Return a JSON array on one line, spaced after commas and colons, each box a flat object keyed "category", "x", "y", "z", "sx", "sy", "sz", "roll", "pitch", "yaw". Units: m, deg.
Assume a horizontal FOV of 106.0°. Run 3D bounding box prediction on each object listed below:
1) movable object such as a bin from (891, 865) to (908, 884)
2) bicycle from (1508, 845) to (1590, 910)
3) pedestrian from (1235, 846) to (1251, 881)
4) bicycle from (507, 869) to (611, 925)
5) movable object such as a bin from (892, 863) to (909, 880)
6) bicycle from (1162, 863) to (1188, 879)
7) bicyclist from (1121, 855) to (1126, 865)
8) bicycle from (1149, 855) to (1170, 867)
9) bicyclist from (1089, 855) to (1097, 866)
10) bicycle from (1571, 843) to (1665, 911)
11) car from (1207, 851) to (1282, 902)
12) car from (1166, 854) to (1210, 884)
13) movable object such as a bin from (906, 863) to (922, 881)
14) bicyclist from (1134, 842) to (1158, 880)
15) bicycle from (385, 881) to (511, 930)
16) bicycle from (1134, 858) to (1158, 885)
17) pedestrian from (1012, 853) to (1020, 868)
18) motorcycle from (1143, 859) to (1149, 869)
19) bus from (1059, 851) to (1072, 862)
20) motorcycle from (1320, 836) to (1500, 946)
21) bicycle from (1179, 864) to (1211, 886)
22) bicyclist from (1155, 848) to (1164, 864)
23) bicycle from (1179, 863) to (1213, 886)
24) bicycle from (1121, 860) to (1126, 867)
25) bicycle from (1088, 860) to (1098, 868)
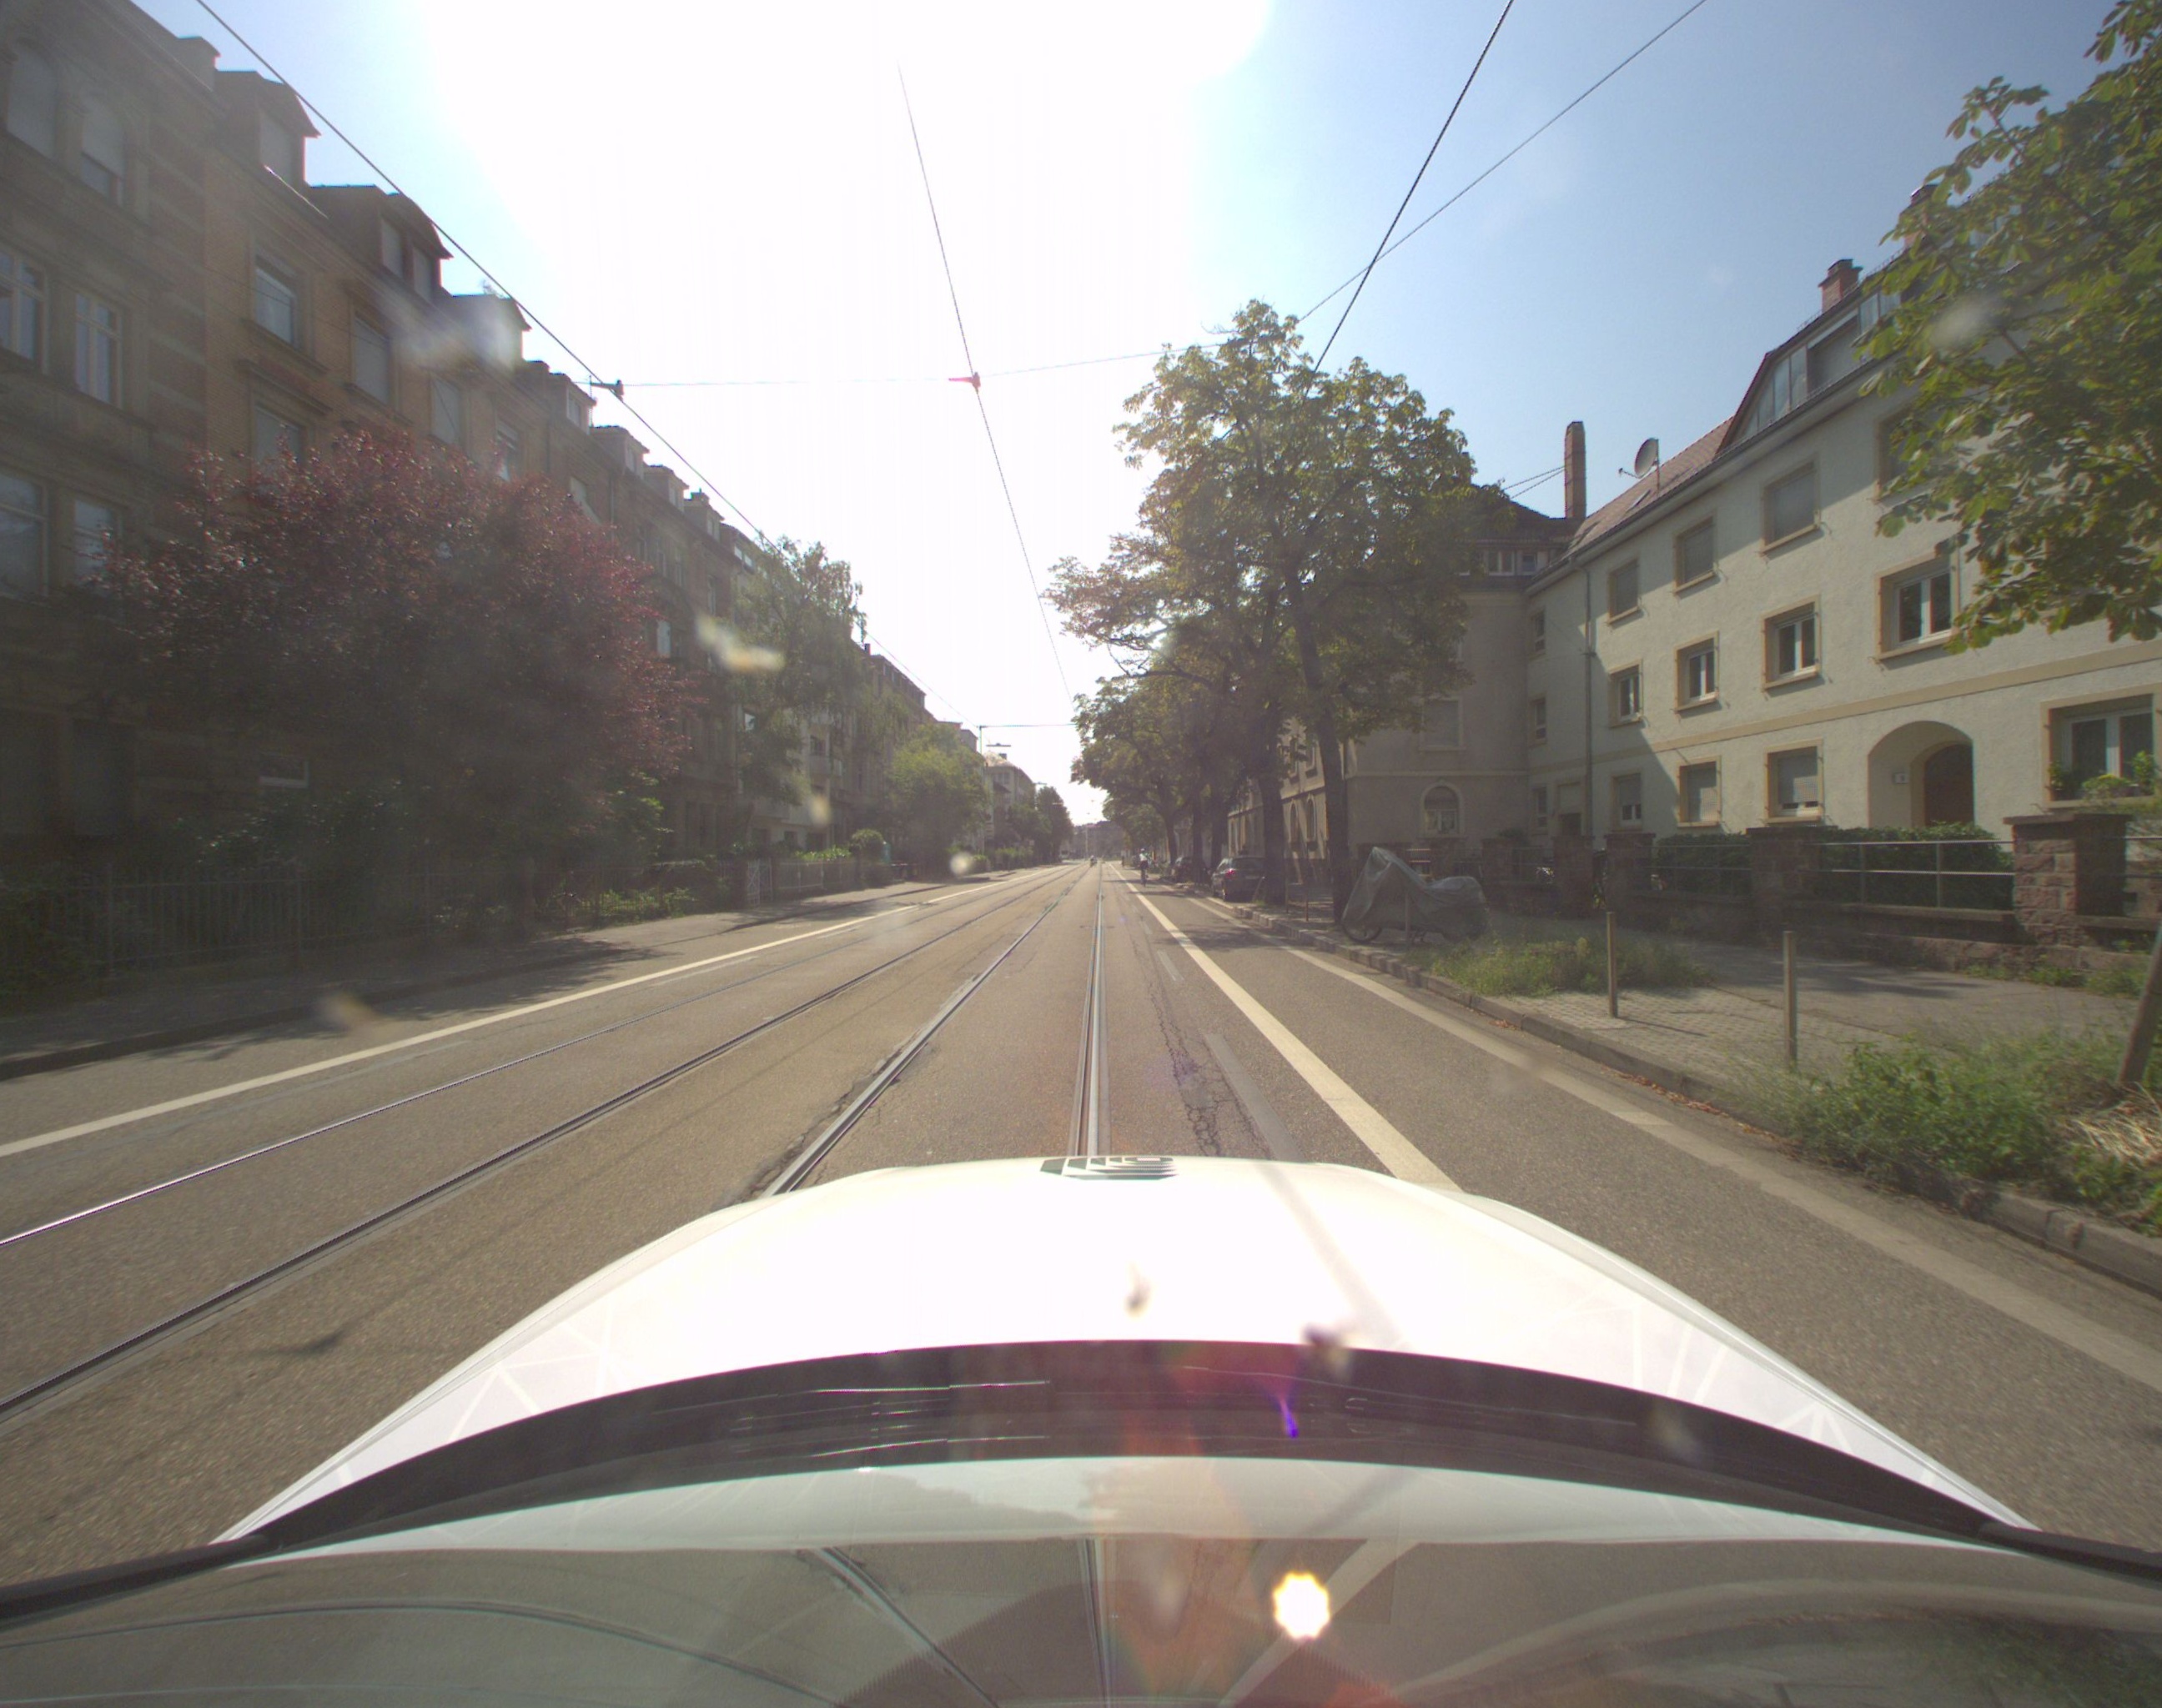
[{"category": "movable object such as a bin", "x": -10.312, "y": 1.156, "z": 46.392, "sx": 0.784, "sy": 1.076, "sz": 0.754, "roll": 1, "pitch": -1, "yaw": -1}, {"category": "bicycle", "x": 10.384, "y": 0.502, "z": 18.167, "sx": 0.591, "sy": 1.358, "sz": 2.371, "roll": -1, "pitch": -1, "yaw": 4}, {"category": "pedestrian", "x": 8.917, "y": 0.526, "z": 44.806, "sx": 0.703, "sy": 1.892, "sz": 0.714, "roll": -1, "pitch": -1, "yaw": 3}, {"category": "bicycle", "x": -11.389, "y": 0.919, "z": 17.786, "sx": 1.805, "sy": 1.182, "sz": 0.717, "roll": 0, "pitch": -1, "yaw": 3}, {"category": "movable object such as a bin", "x": -11.077, "y": 1.074, "z": 50.059, "sx": 0.783, "sy": 1.076, "sz": 0.804, "roll": 0, "pitch": -1, "yaw": 4}, {"category": "bicycle", "x": 6.468, "y": 1.176, "z": 55.897, "sx": 1.706, "sy": 1.032, "sz": 0.567, "roll": -1, "pitch": -1, "yaw": 2}, {"category": "bicyclist", "x": 5.504, "y": 0.802, "z": 106.167, "sx": 0.576, "sy": 1.279, "sz": 0.472, "roll": -1, "pitch": -1, "yaw": 3}, {"category": "bicycle", "x": 8.042, "y": 0.738, "z": 83.520, "sx": 2.028, "sy": 1.151, "sz": 0.785, "roll": -1, "pitch": -1, "yaw": -1}, {"category": "bicyclist", "x": 1.585, "y": 0.877, "z": 107.545, "sx": 0.753, "sy": 1.392, "sz": 0.782, "roll": -1, "pitch": -1, "yaw": 15}, {"category": "bicycle", "x": 11.466, "y": 0.475, "z": 17.488, "sx": 0.591, "sy": 1.358, "sz": 2.371, "roll": -1, "pitch": -1, "yaw": 4}, {"category": "car", "x": 5.613, "y": 0.720, "z": 28.431, "sx": 1.834, "sy": 1.532, "sz": 4.116, "roll": -1, "pitch": 1, "yaw": 1}, {"category": "car", "x": 5.940, "y": 0.806, "z": 45.706, "sx": 1.834, "sy": 1.532, "sz": 4.780, "roll": -2, "pitch": 0, "yaw": 1}, {"category": "movable object such as a bin", "x": -10.254, "y": 1.112, "z": 50.105, "sx": 0.783, "sy": 1.076, "sz": 0.804, "roll": 0, "pitch": -1, "yaw": 4}, {"category": "bicyclist", "x": 3.199, "y": 0.363, "z": 40.397, "sx": 1.121, "sy": 1.837, "sz": 0.956, "roll": -1, "pitch": -1, "yaw": 2}, {"category": "bicycle", "x": -12.586, "y": 1.012, "z": 16.257, "sx": 1.818, "sy": 0.911, "sz": 0.712, "roll": 1, "pitch": -1, "yaw": -19}, {"category": "bicycle", "x": 3.213, "y": 0.847, "z": 40.559, "sx": 1.143, "sy": 1.269, "sz": 2.714, "roll": -1, "pitch": 0, "yaw": 3}, {"category": "pedestrian", "x": -7.843, "y": 0.805, "z": 98.527, "sx": 0.777, "sy": 1.756, "sz": 1.041, "roll": -1, "pitch": -1, "yaw": 2}, {"category": "motorcycle", "x": 7.838, "y": 1.204, "z": 98.003, "sx": 0.547, "sy": 1.068, "sz": 2.331, "roll": -1, "pitch": -1, "yaw": 2}, {"category": "bus", "x": -4.863, "y": 0.750, "z": 263.918, "sx": 3.722, "sy": 3.364, "sz": 15.120, "roll": -1, "pitch": -1, "yaw": 1}, {"category": "motorcycle", "x": 5.031, "y": 0.578, "z": 12.570, "sx": 2.316, "sy": 1.540, "sz": 0.975, "roll": -4, "pitch": -3, "yaw": 42}, {"category": "bicycle", "x": 5.787, "y": 1.046, "z": 41.502, "sx": 1.597, "sy": 1.104, "sz": 0.399, "roll": 0, "pitch": -1, "yaw": 7}, {"category": "bicyclist", "x": 8.049, "y": 0.218, "z": 83.524, "sx": 0.820, "sy": 1.643, "sz": 0.785, "roll": -1, "pitch": -1, "yaw": 1}, {"category": "bicycle", "x": 5.888, "y": 1.052, "z": 41.888, "sx": 1.713, "sy": 1.149, "sz": 0.377, "roll": 0, "pitch": -1, "yaw": 7}, {"category": "bicycle", "x": 5.515, "y": 1.252, "z": 106.175, "sx": 0.585, "sy": 0.939, "sz": 2.174, "roll": -1, "pitch": -1, "yaw": 4}, {"category": "bicycle", "x": 1.590, "y": 1.281, "z": 107.556, "sx": 0.753, "sy": 0.991, "sz": 2.307, "roll": -1, "pitch": -1, "yaw": 16}]
